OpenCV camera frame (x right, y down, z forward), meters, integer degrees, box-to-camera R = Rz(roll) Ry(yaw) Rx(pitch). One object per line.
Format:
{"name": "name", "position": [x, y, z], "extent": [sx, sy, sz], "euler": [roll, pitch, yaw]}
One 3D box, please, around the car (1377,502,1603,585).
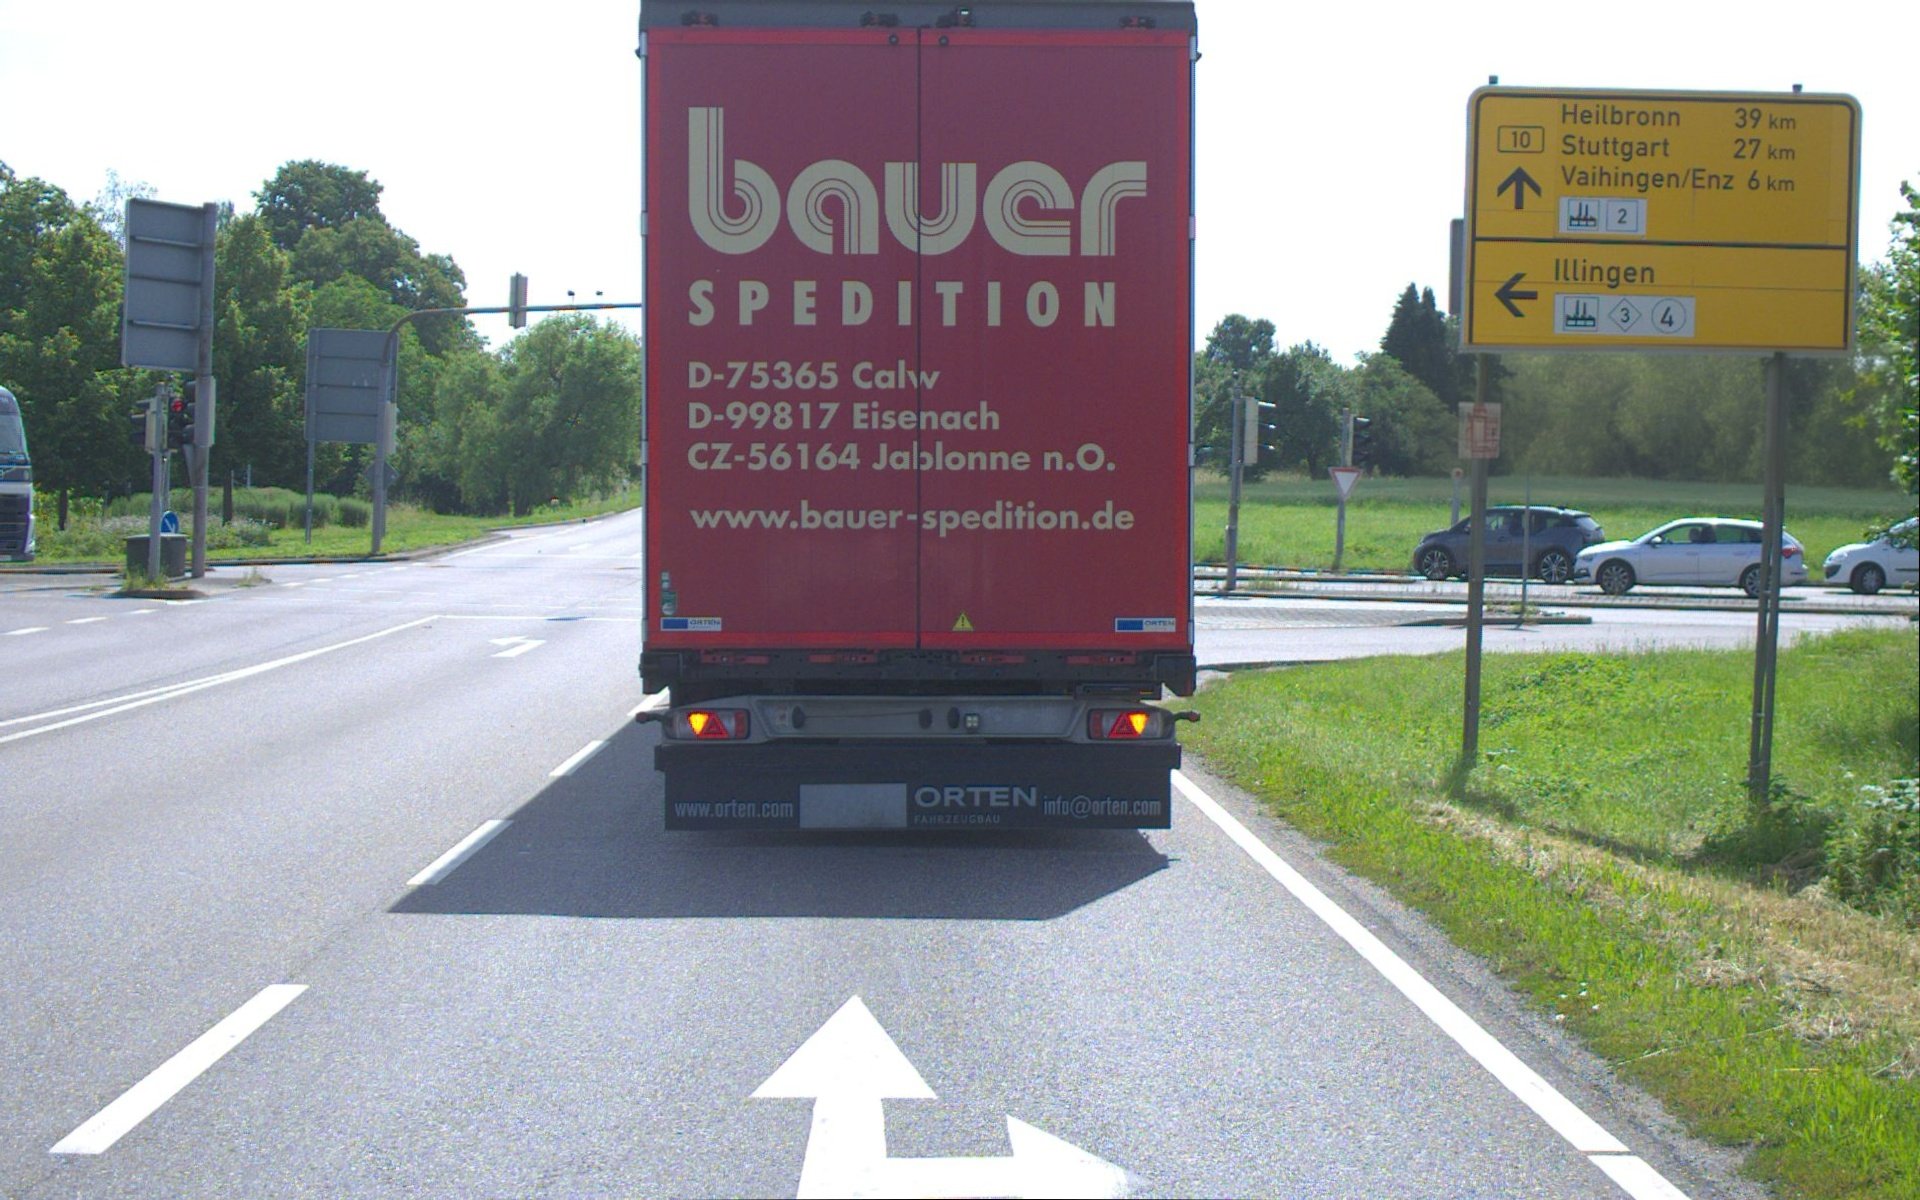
{"name": "car", "position": [10.997, -1.183, 71.413], "extent": [4.281, 1.650, 1.697], "euler": [2, 1, 32]}

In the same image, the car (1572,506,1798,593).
{"name": "car", "position": [13.763, -0.957, 65.201], "extent": [4.102, 1.542, 1.872], "euler": [1, 1, 14]}

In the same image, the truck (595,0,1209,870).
{"name": "truck", "position": [-0.525, -0.992, 23.935], "extent": [2.734, 3.911, 16.628], "euler": [1, 2, -2]}

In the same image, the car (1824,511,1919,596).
{"name": "car", "position": [18.996, -0.904, 67.617], "extent": [3.829, 1.628, 1.760], "euler": [1, 1, 13]}

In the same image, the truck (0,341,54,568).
{"name": "truck", "position": [-19.822, -2.695, 62.503], "extent": [5.830, 4.047, 2.797], "euler": [2, 2, 14]}
